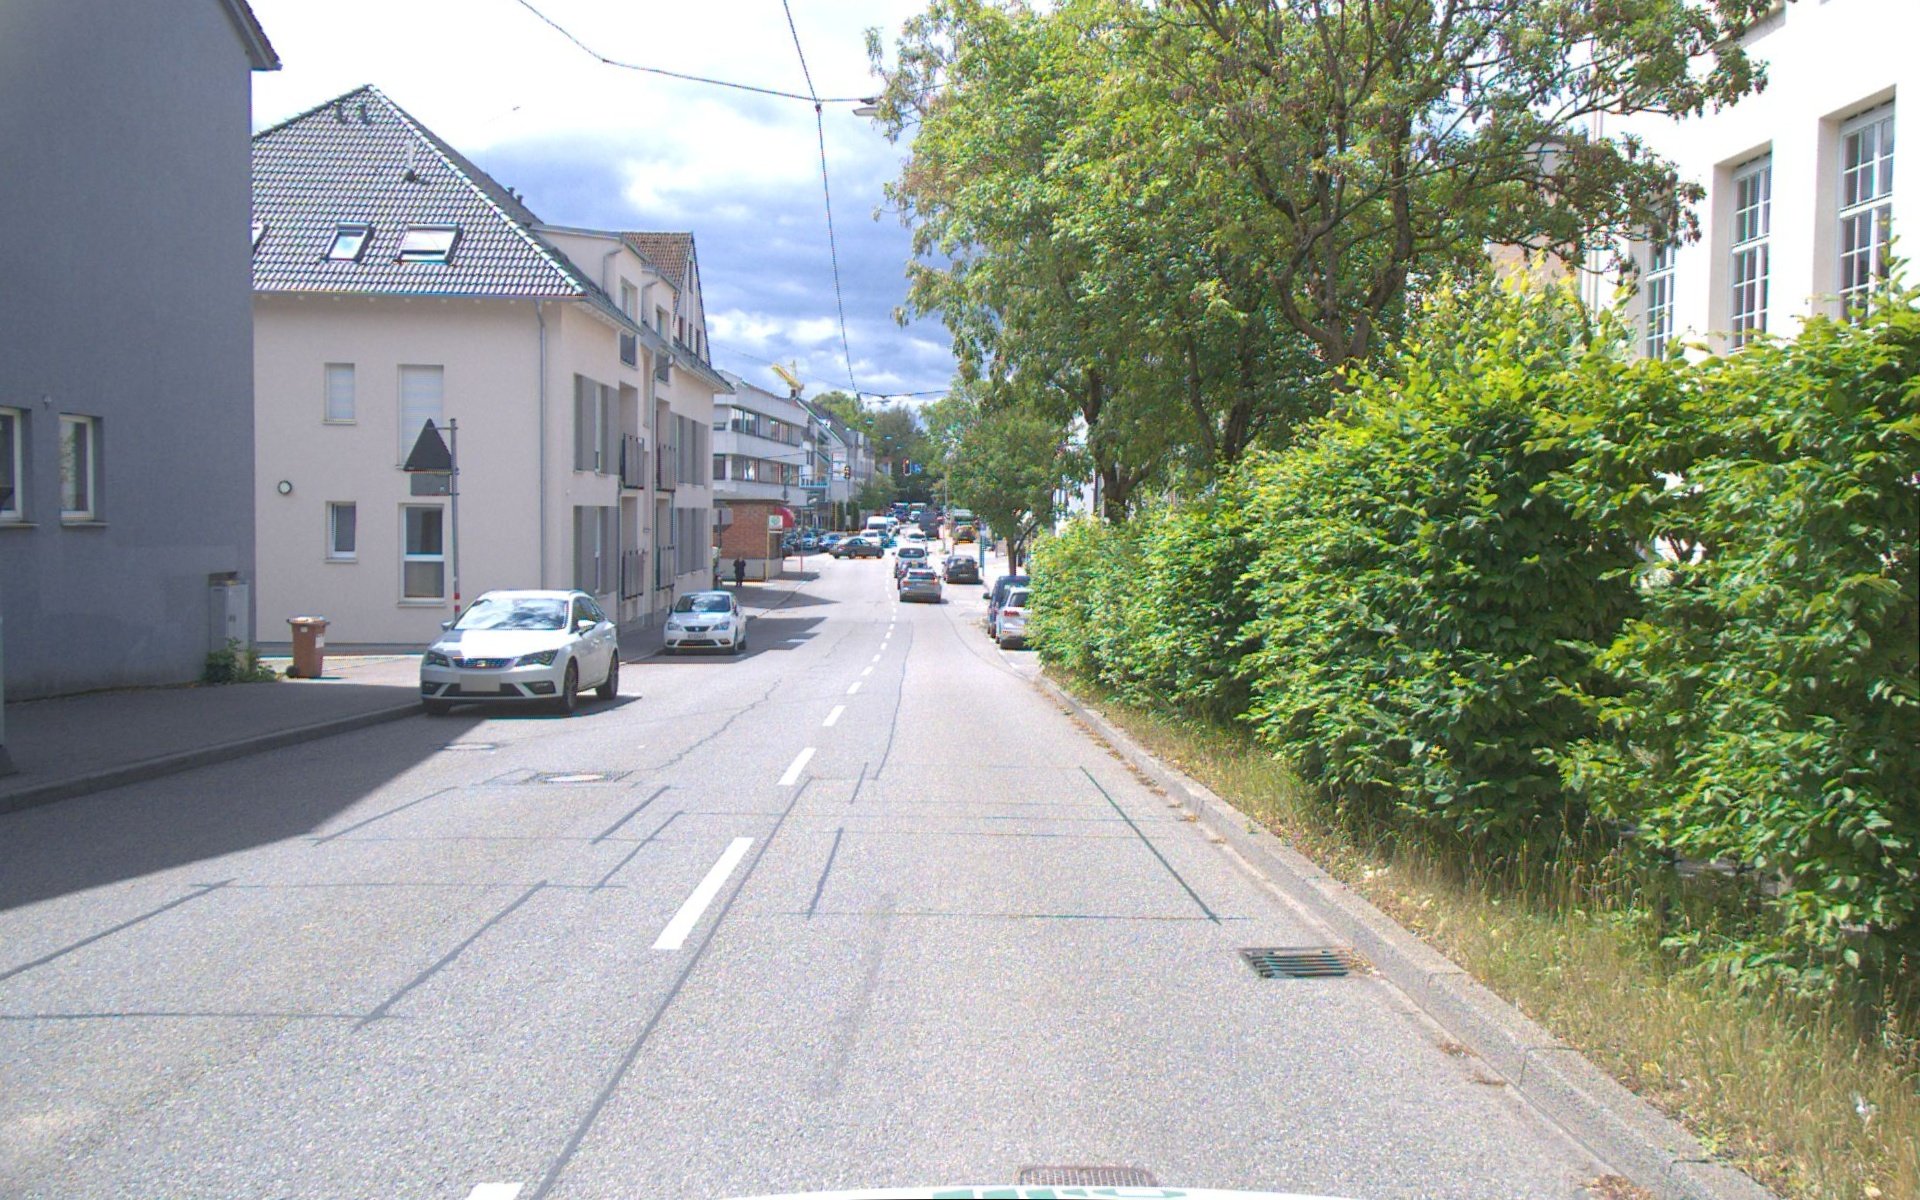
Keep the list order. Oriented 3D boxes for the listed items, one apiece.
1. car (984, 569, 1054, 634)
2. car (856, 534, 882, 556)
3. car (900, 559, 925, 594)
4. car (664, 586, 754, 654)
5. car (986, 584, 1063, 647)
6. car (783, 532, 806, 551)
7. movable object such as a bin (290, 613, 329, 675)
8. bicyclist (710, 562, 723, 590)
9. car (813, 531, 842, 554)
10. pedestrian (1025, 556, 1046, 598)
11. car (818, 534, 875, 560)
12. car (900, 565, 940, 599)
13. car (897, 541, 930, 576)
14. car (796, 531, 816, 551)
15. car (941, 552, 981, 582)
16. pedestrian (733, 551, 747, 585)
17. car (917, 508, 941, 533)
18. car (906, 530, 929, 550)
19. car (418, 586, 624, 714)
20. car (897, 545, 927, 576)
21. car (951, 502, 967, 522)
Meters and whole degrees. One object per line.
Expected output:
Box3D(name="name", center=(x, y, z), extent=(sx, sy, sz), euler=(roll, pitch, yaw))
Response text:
Box3D(name="car", center=(1.741, 0.014, 49.874), extent=(1.807, 1.798, 4.514), euler=(2, 1, -1))
Box3D(name="car", center=(-7.514, -4.537, 136.887), extent=(1.834, 1.668, 4.001), euler=(3, 1, 1))
Box3D(name="car", center=(-2.416, -1.194, 83.660), extent=(1.248, 1.553, 3.051), euler=(1, 4, -2))
Box3D(name="car", center=(-5.869, 0.435, 38.996), extent=(1.614, 1.443, 3.698), euler=(2, 1, -2))
Box3D(name="car", center=(1.685, 0.372, 44.221), extent=(1.750, 1.535, 4.364), euler=(2, 1, -1))
Box3D(name="car", center=(-13.281, -4.662, 132.671), extent=(1.520, 1.400, 3.398), euler=(1, 1, -1))
Box3D(name="movable object such as a bin", center=(-10.146, 0.683, 25.807), extent=(0.445, 0.945, 0.399), euler=(0, 0, -2))
Box3D(name="bicyclist", center=(-10.844, -1.074, 73.654), extent=(0.448, 1.199, 0.625), euler=(1, 2, -2))
Box3D(name="car", center=(-10.678, -4.630, 133.559), extent=(1.834, 1.668, 4.001), euler=(3, 1, 1))
Box3D(name="pedestrian", center=(3.158, -0.965, 69.464), extent=(0.722, 1.676, 0.616), euler=(4, -1, -3))
Box3D(name="car", center=(-7.913, -3.681, 115.363), extent=(3.608, 1.642, 1.561), euler=(2, 1, -29))
Box3D(name="car", center=(-1.813, -0.819, 74.764), extent=(1.709, 1.441, 3.999), euler=(1, 1, -1))
Box3D(name="car", center=(-2.614, -2.358, 93.908), extent=(1.799, 1.894, 3.850), euler=(2, 1, -1))
Box3D(name="car", center=(-12.847, -4.879, 137.942), extent=(1.356, 1.567, 3.398), euler=(1, 1, -1))
Box3D(name="car", center=(0.009, -1.806, 90.550), extent=(1.719, 1.394, 3.996), euler=(1, 4, -7))
Box3D(name="pedestrian", center=(-10.759, -1.578, 80.921), extent=(0.617, 1.630, 0.561), euler=(2, 1, -13))
Box3D(name="car", center=(-3.283, -8.352, 174.273), extent=(2.387, 2.358, 5.325), euler=(3, 1, -2))
Box3D(name="car", center=(-3.448, -4.890, 135.092), extent=(1.850, 1.534, 3.999), euler=(0, 1, -1))
Box3D(name="car", center=(-5.442, 0.561, 20.965), extent=(1.663, 1.414, 3.865), euler=(2, 1, -2))
Box3D(name="car", center=(-3.051, -2.495, 104.786), extent=(1.799, 1.894, 3.850), euler=(2, 1, -1))
Box3D(name="car", center=(-0.110, -10.006, 187.982), extent=(1.765, 2.049, 3.999), euler=(1, 1, -1))
